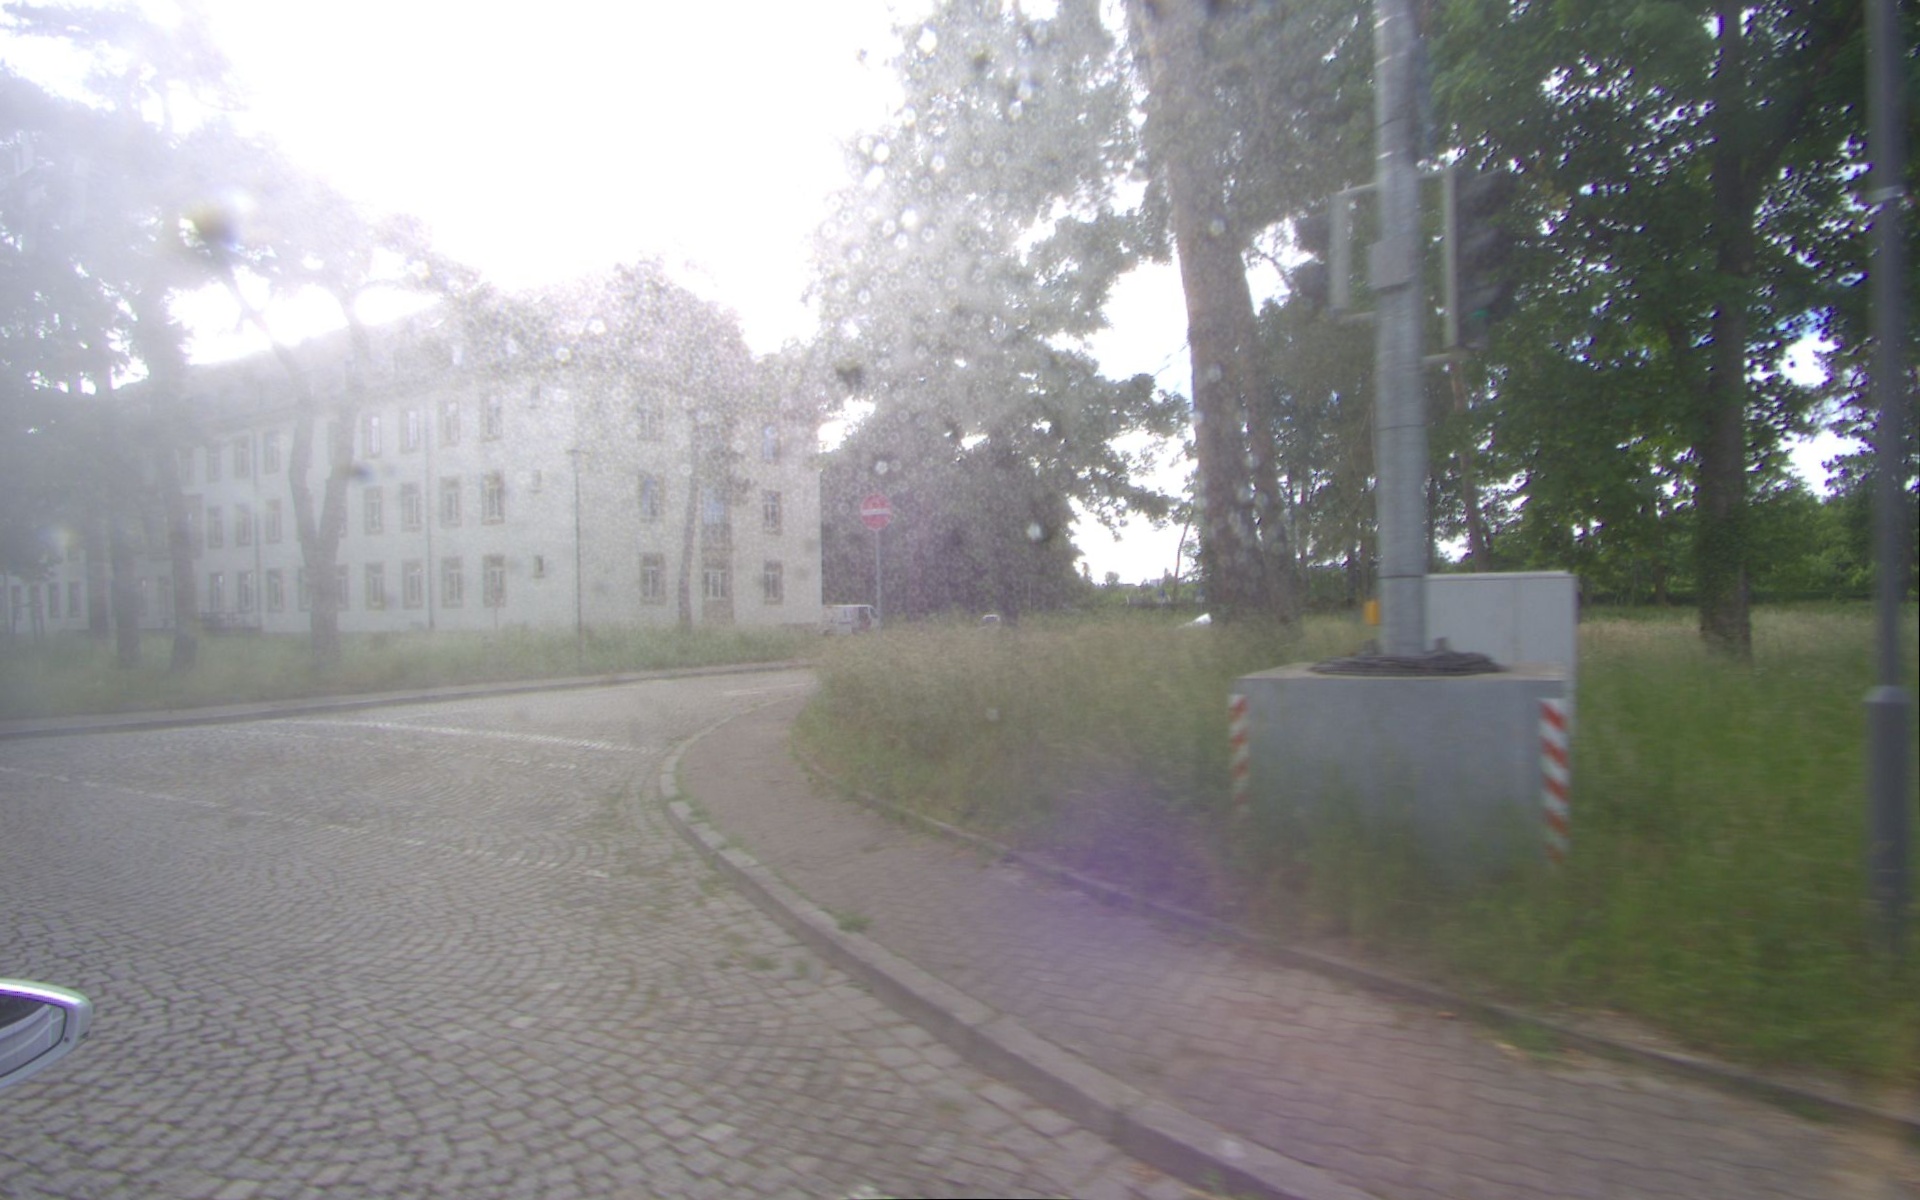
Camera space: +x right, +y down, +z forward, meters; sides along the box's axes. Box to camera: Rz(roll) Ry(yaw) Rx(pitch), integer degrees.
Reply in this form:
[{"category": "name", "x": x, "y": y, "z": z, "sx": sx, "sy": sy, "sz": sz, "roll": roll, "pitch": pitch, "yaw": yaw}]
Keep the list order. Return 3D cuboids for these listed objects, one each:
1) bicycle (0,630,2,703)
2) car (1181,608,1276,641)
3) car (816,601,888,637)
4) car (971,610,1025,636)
[{"category": "bicycle", "x": -16.717, "y": 1.106, "z": 16.445, "sx": 1.845, "sy": 1.192, "sz": 0.908, "roll": -1, "pitch": 0, "yaw": 29}, {"category": "car", "x": 12.673, "y": 1.134, "z": 47.249, "sx": 4.194, "sy": 1.434, "sz": 1.879, "roll": 0, "pitch": 0, "yaw": -29}, {"category": "car", "x": -7.200, "y": 1.225, "z": 67.347, "sx": 2.181, "sy": 2.318, "sz": 5.173, "roll": -1, "pitch": -1, "yaw": 30}, {"category": "car", "x": 2.411, "y": 1.419, "z": 62.761, "sx": 1.970, "sy": 1.527, "sz": 3.477, "roll": -1, "pitch": -1, "yaw": 30}]
